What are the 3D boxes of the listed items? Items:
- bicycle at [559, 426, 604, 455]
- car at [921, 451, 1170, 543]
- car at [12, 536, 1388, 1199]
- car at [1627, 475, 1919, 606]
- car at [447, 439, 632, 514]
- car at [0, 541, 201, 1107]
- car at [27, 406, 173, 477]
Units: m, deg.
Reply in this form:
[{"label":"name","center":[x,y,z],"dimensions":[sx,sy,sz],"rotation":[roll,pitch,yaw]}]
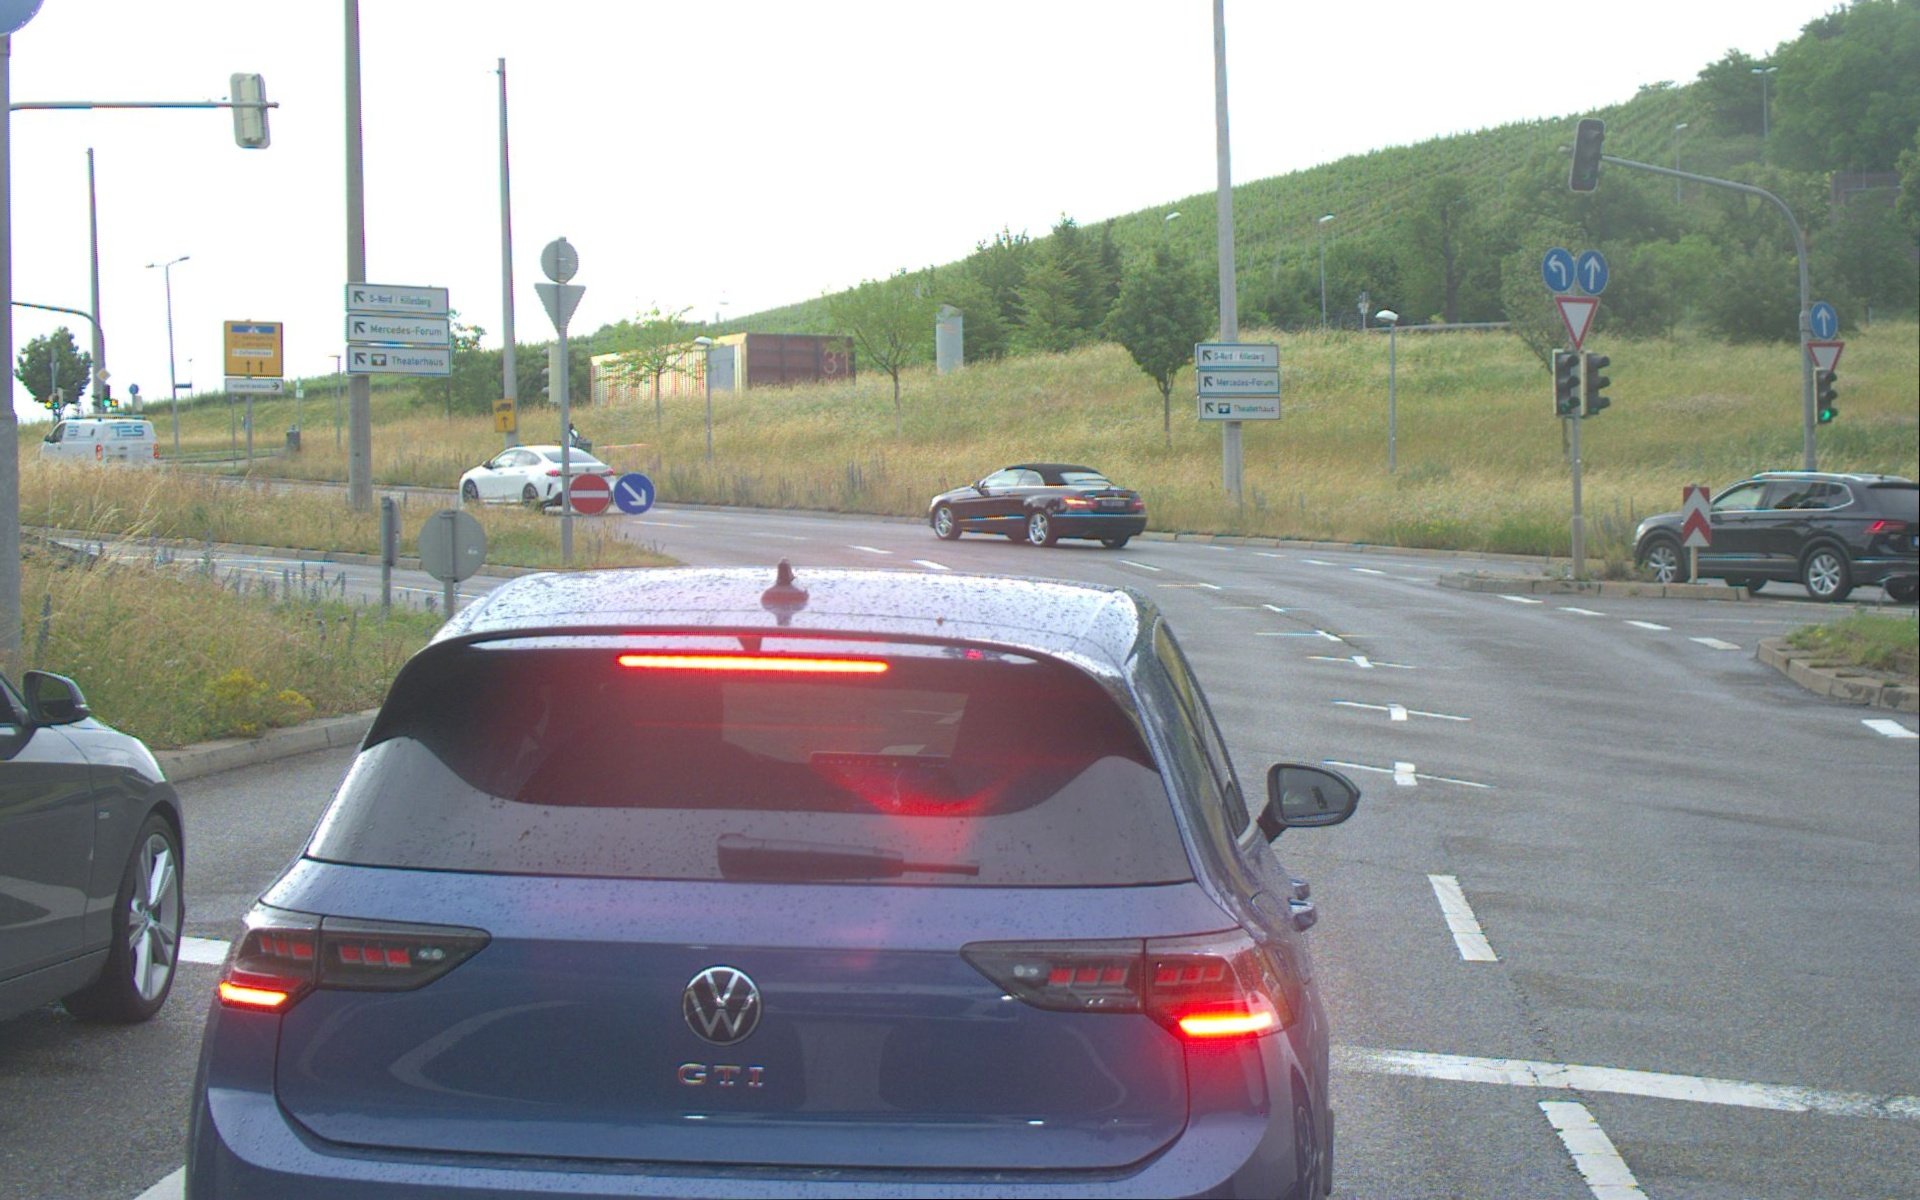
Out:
[{"label":"bicycle","center":[-10.774,-4.536,97.777],"dimensions":[0.518,0.772,1.621],"rotation":[2,1,-35]},{"label":"car","center":[1.435,-1.750,59.481],"dimensions":[1.994,1.472,4.502],"rotation":[1,0,-36]},{"label":"car","center":[-0.253,0.628,6.459],"dimensions":[1.825,1.455,3.808],"rotation":[1,1,3]},{"label":"car","center":[11.139,-0.763,45.225],"dimensions":[1.994,1.631,4.420],"rotation":[1,0,-37]},{"label":"car","center":[-9.076,-2.625,73.883],"dimensions":[1.994,1.472,4.420],"rotation":[1,0,-37]},{"label":"car","center":[-3.319,0.570,8.743],"dimensions":[1.703,1.455,4.114],"rotation":[0,0,2]},{"label":"car","center":[-24.066,-4.415,96.105],"dimensions":[2.129,1.788,4.739],"rotation":[1,0,-39]}]
